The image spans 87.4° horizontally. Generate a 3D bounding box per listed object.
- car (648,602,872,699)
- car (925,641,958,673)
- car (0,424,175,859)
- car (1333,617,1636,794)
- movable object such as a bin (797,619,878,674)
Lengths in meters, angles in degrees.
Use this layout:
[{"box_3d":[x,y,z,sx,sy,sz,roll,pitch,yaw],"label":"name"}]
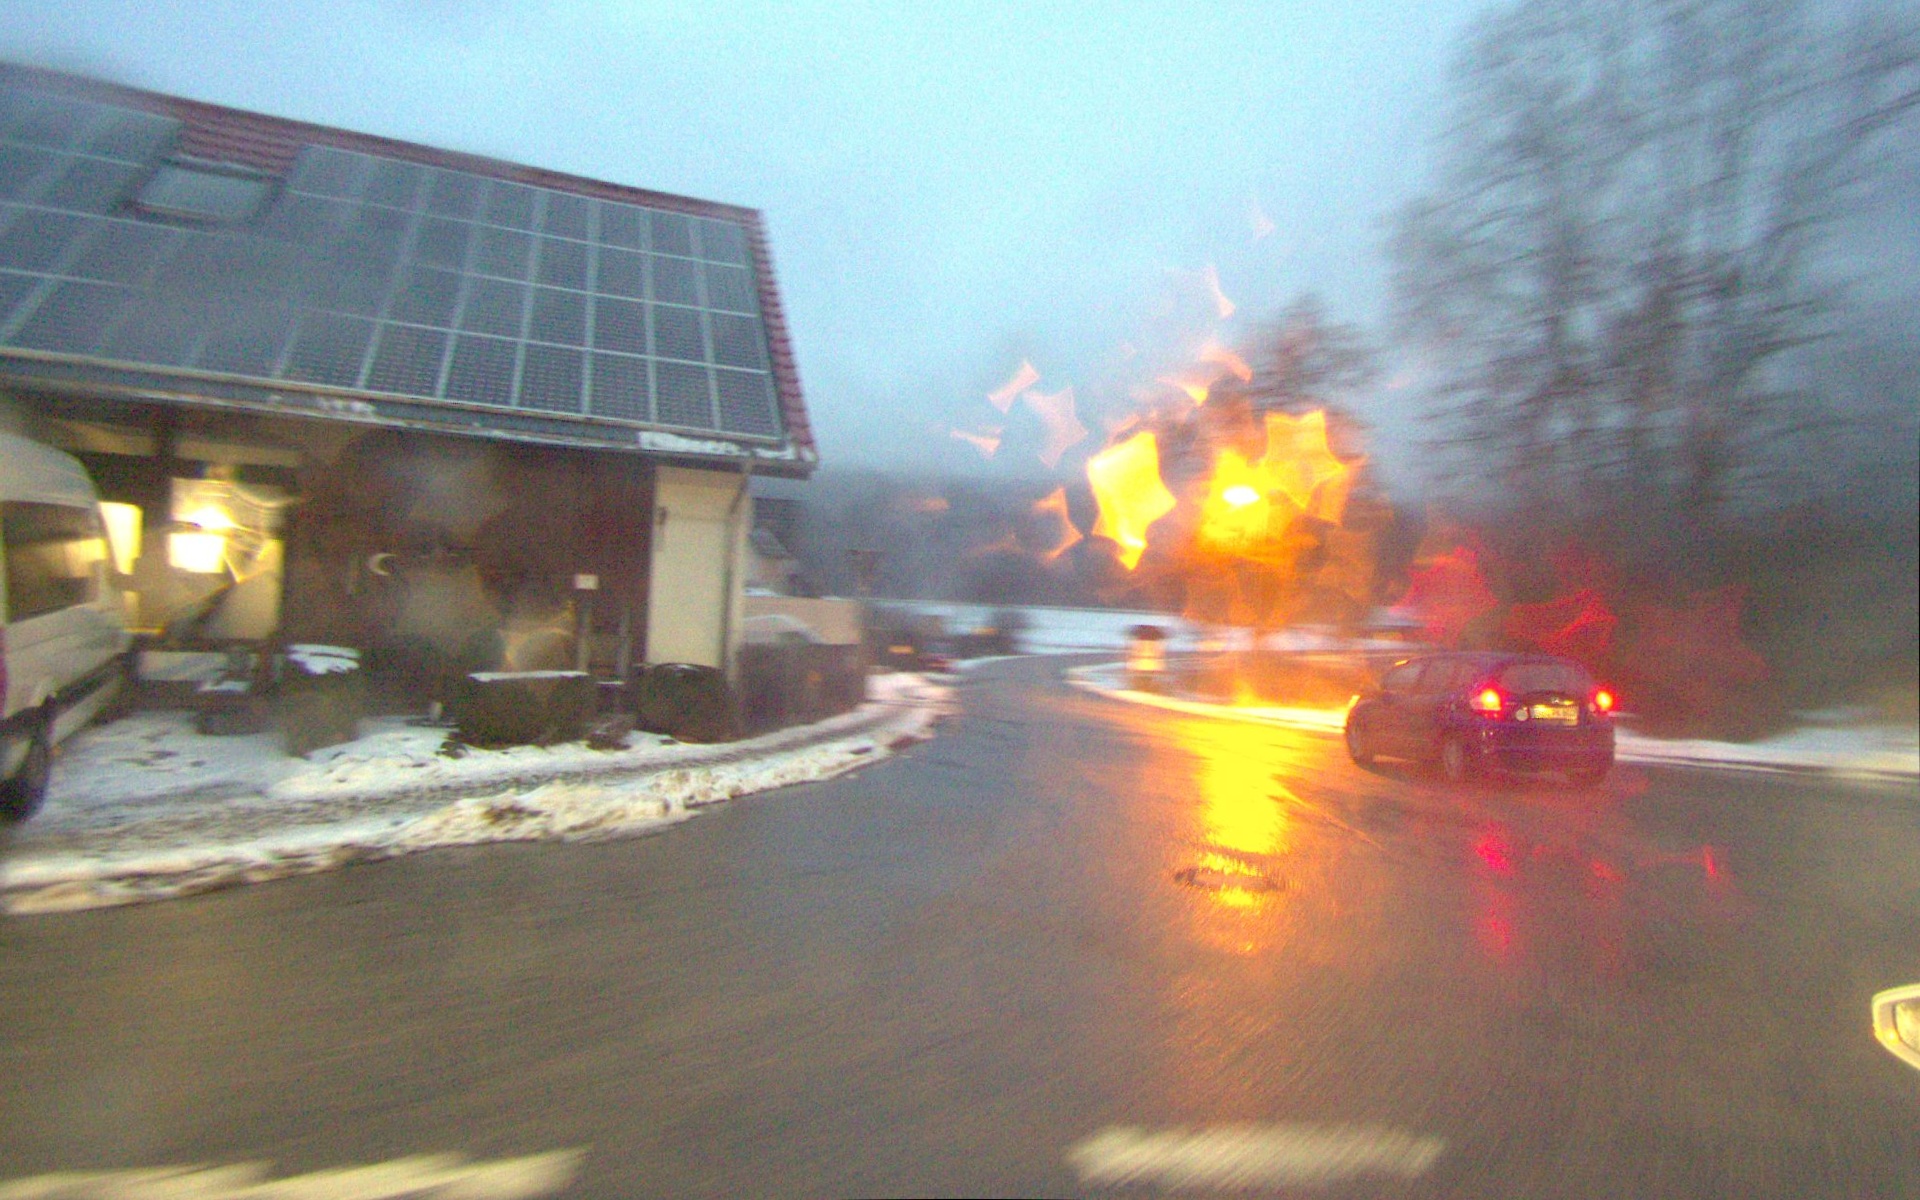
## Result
[{"box_3d":[-4.843,1.307,25.147,5.179,2.039,2.214,3,-5,-5],"label":"car"},{"box_3d":[-0.992,3.067,54.788,1.690,1.554,3.517,3,-2,0],"label":"car"},{"box_3d":[-8.033,0.011,8.009,1.978,2.587,6.062,3,2,-31],"label":"car"},{"box_3d":[6.176,1.178,12.335,1.792,1.820,3.578,1,-2,-1],"label":"car"},{"box_3d":[-4.403,1.668,36.137,2.325,1.669,1.442,6,-2,19],"label":"movable object such as a bin"}]
